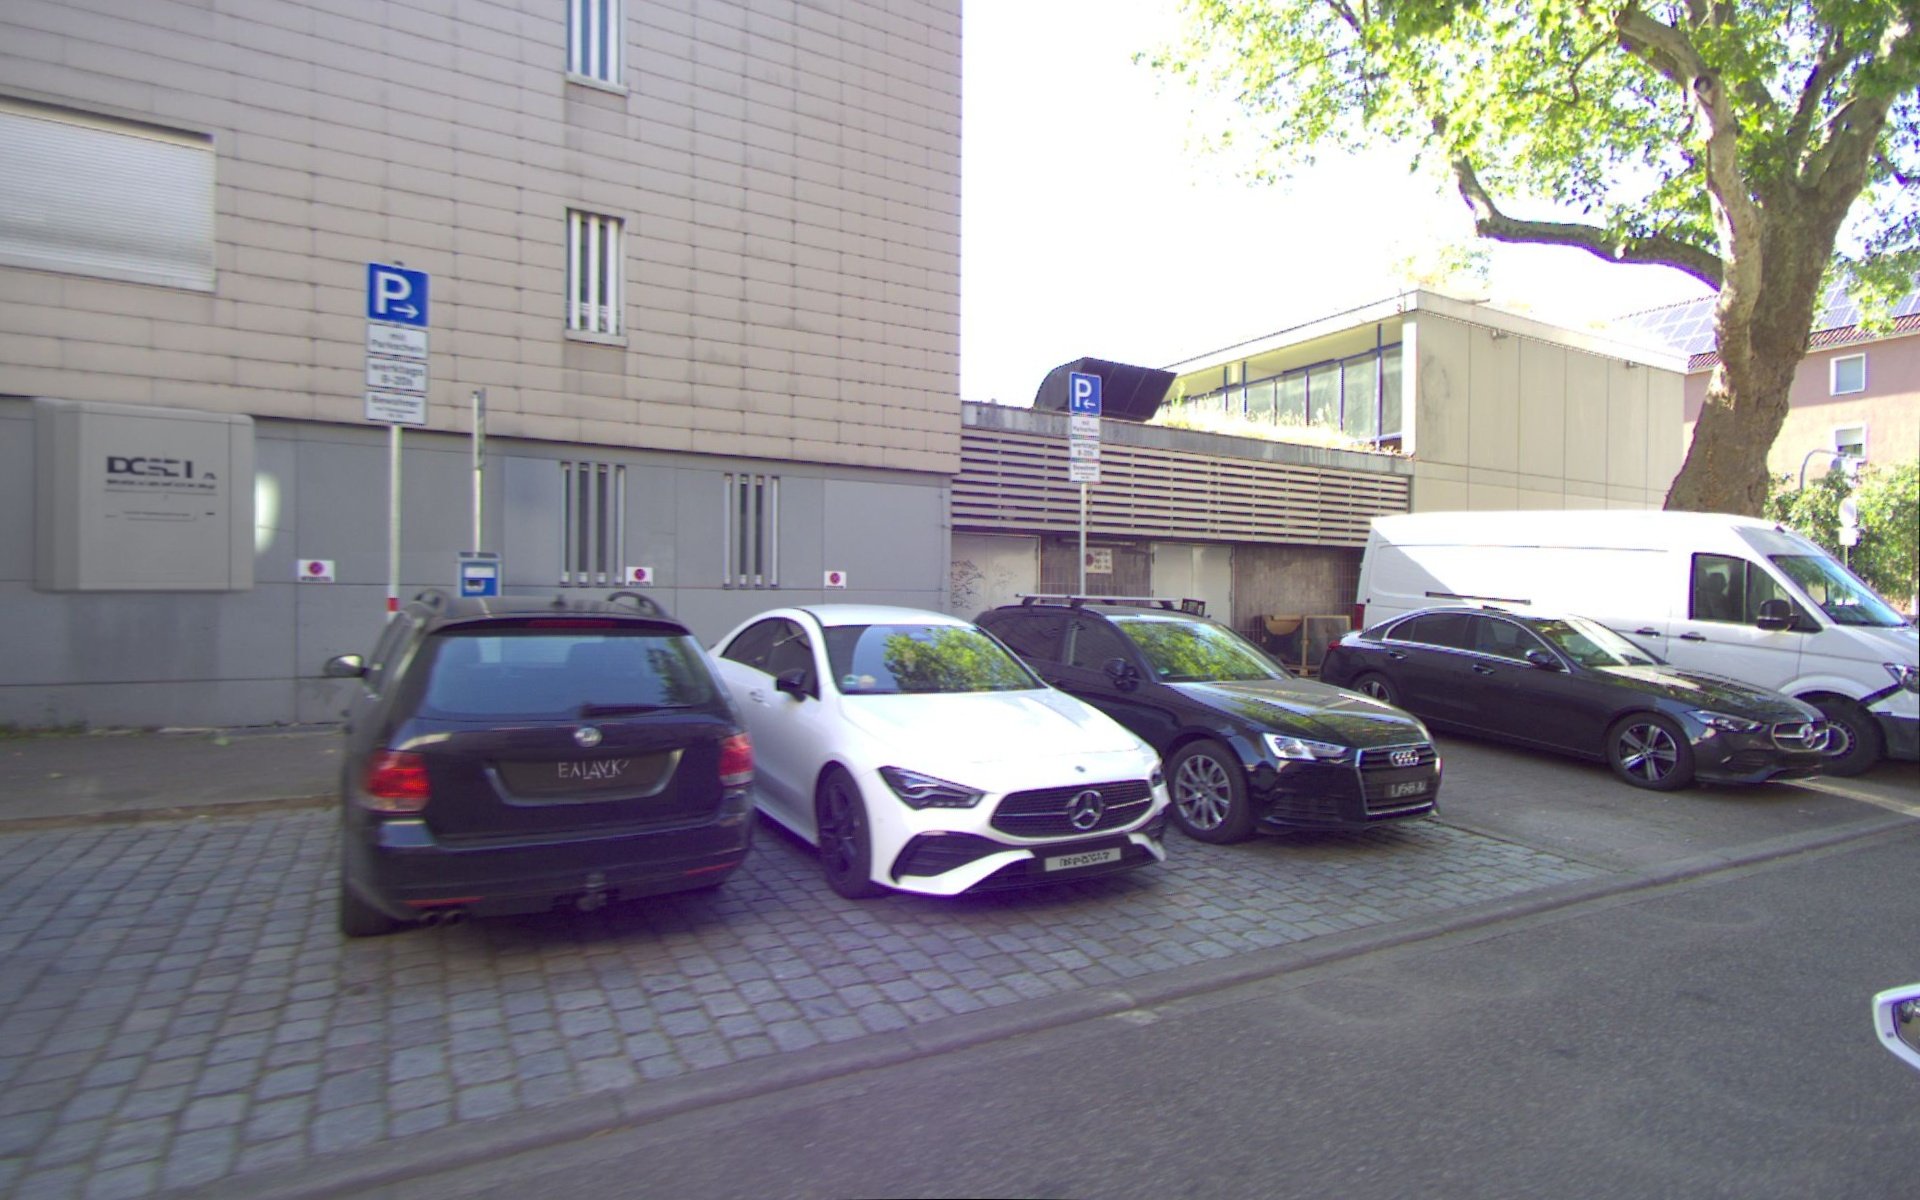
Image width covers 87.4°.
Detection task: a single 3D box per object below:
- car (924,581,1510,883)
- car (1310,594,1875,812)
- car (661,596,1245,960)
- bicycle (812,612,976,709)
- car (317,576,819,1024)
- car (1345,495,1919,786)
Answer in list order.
[{"bbox_3d":[1.638,0.724,8.005,1.895,1.631,4.441,1,1,-32],"label":"car"},{"bbox_3d":[5.997,0.800,10.221,1.905,1.490,4.481,1,3,-28],"label":"car"},{"bbox_3d":[-0.445,0.770,6.607,1.935,1.444,4.320,2,1,-30],"label":"car"},{"bbox_3d":[-0.816,0.729,12.690,2.014,1.139,0.606,0,1,-30],"label":"bicycle"},{"bbox_3d":[-2.363,0.685,5.555,1.806,1.525,3.856,1,0,-30],"label":"car"},{"bbox_3d":[8.122,0.233,12.108,2.119,2.589,6.712,1,2,-27],"label":"car"}]
